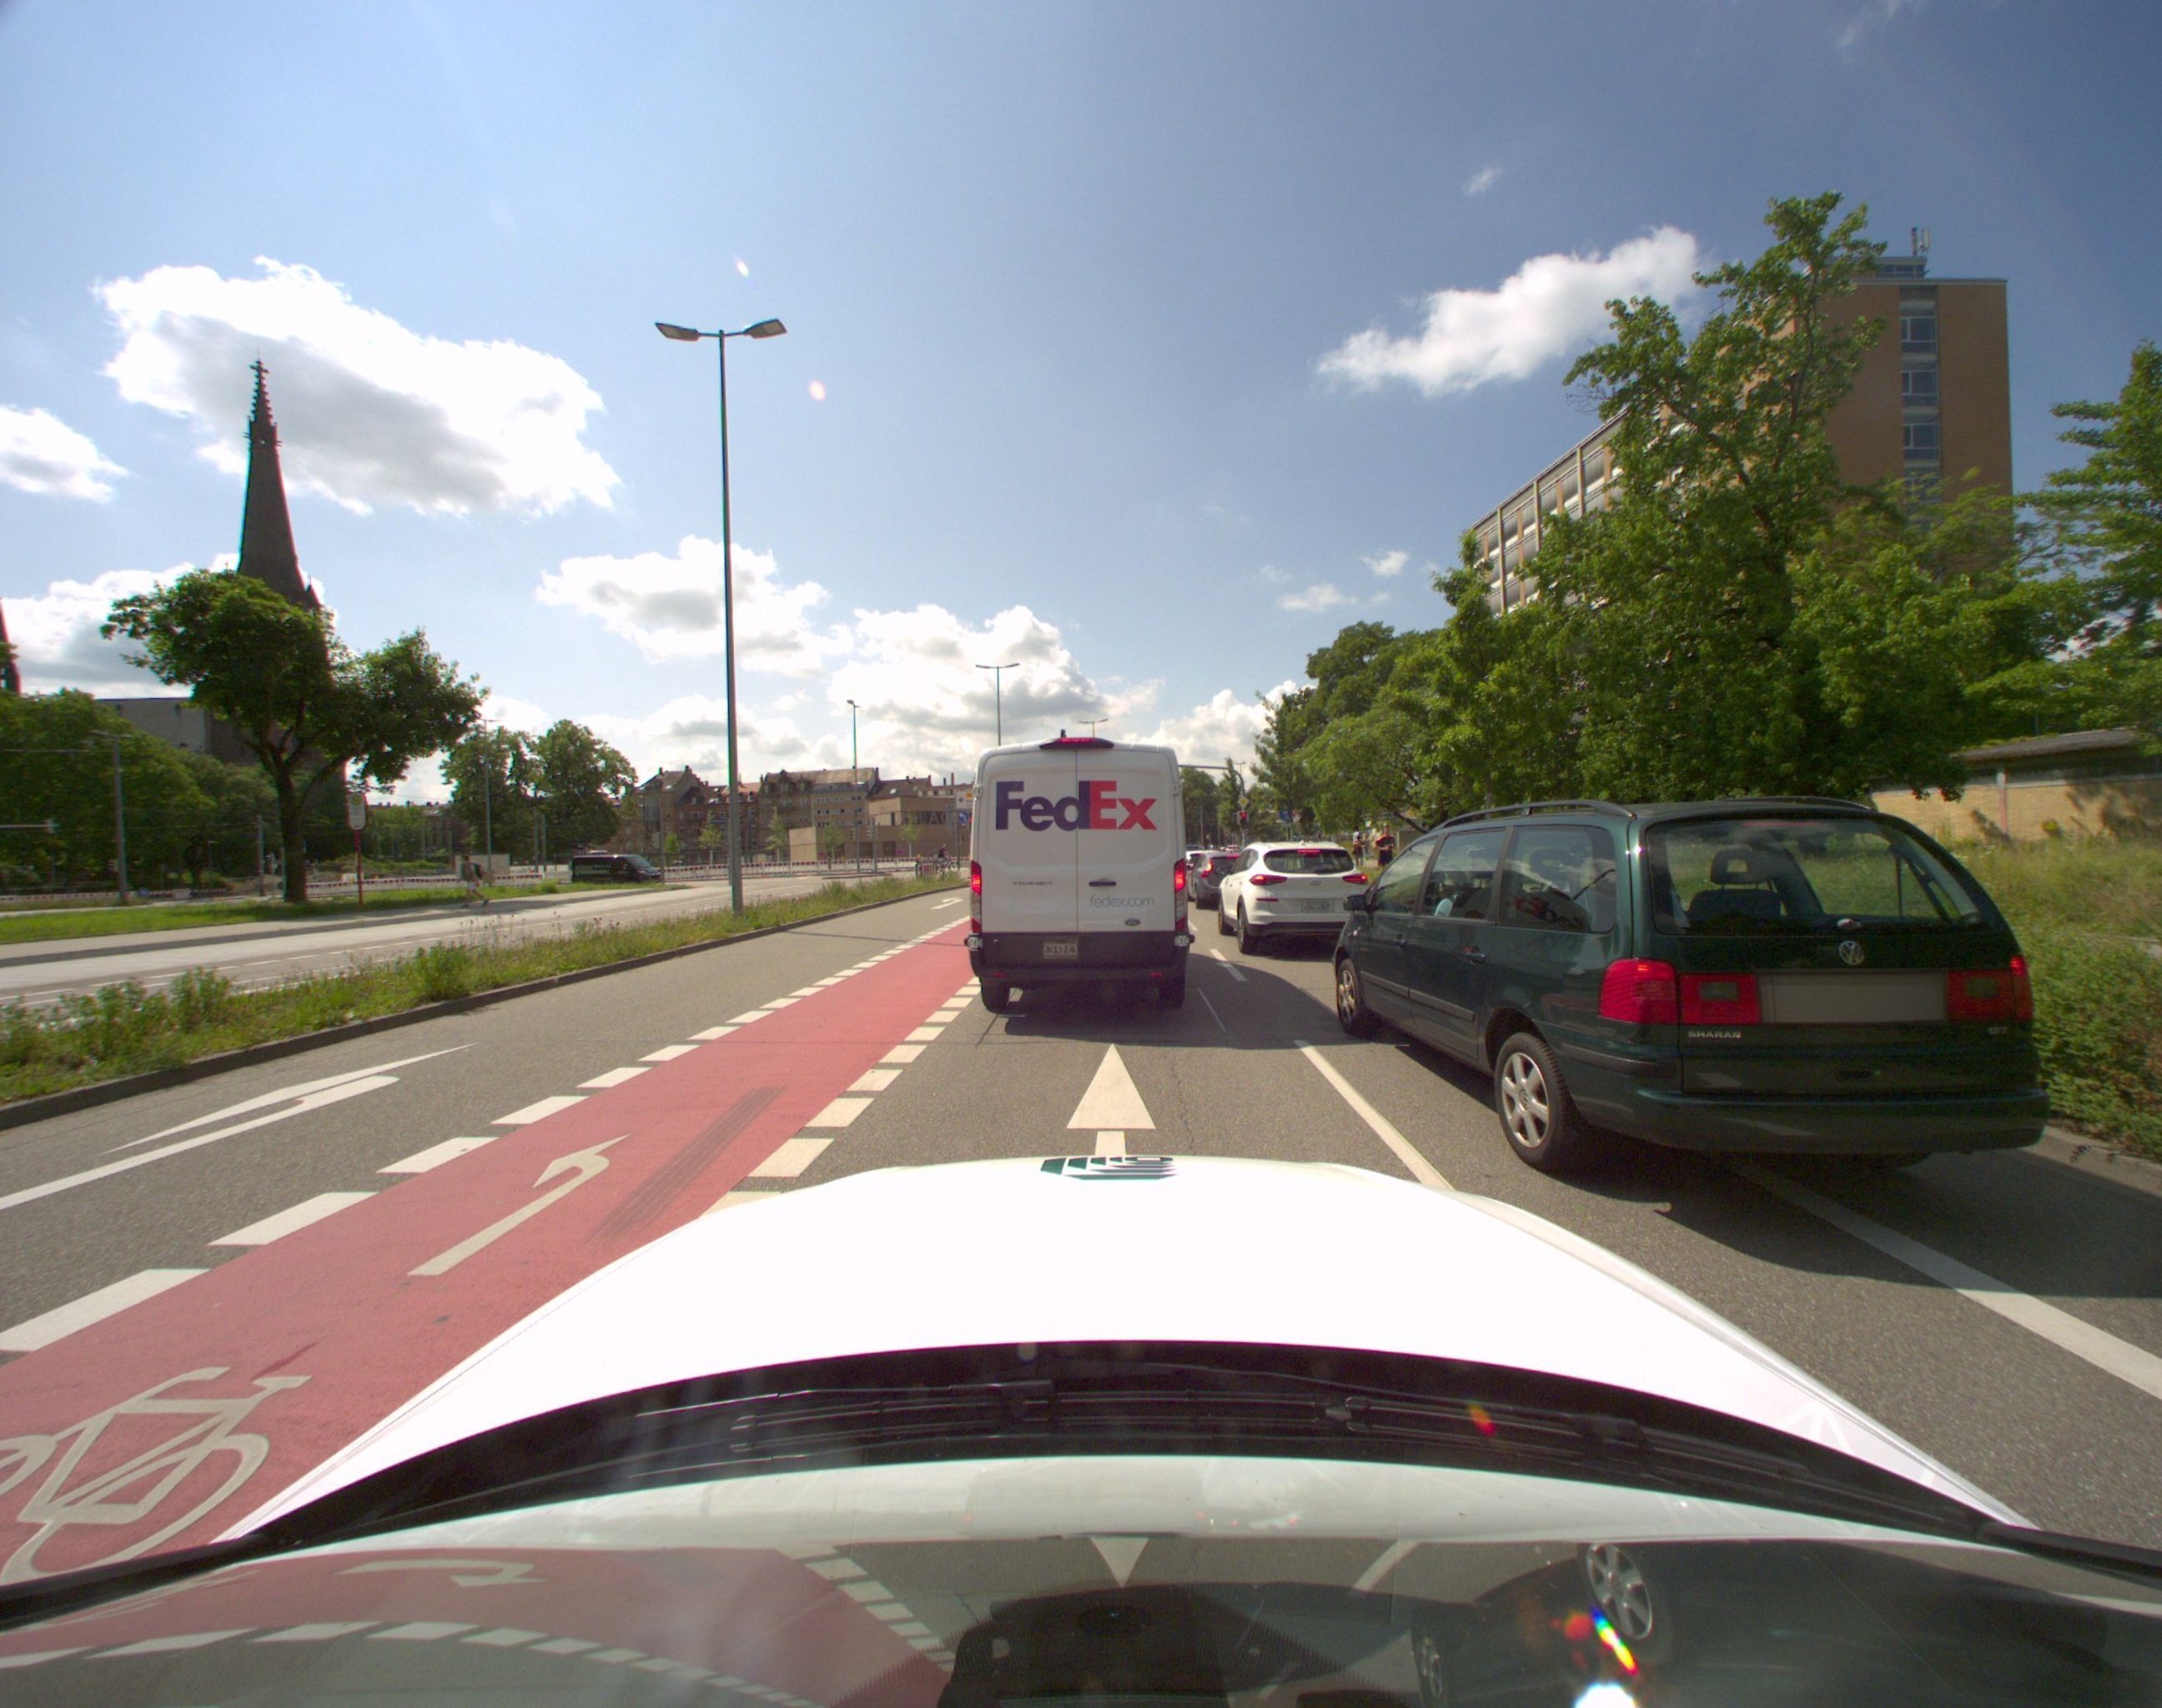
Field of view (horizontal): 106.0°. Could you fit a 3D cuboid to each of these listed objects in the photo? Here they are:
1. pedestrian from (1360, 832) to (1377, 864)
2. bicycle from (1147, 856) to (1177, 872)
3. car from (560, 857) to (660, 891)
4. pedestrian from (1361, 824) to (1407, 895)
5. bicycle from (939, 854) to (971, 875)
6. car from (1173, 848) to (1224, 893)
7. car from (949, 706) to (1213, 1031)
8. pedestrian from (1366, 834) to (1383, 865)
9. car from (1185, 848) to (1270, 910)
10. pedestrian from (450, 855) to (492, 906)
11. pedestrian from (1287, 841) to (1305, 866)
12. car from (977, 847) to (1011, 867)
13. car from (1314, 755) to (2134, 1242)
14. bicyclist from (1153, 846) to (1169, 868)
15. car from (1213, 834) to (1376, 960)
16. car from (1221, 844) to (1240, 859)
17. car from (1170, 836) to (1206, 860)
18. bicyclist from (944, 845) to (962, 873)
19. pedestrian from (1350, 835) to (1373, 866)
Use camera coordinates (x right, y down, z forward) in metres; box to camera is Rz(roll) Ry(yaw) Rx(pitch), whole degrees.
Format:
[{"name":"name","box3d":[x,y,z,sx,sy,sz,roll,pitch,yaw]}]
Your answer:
[{"name":"pedestrian","box3d":[19.110,-0.383,54.103,0.737,2.058,0.846,-2,0,-3]},{"name":"bicycle","box3d":[5.438,0.658,54.796,1.917,1.030,0.547,-2,0,-6]},{"name":"car","box3d":[-29.443,1.245,51.039,4.995,1.879,1.928,-2,1,-2]},{"name":"pedestrian","box3d":[8.391,0.142,22.573,0.947,1.892,0.774,-2,0,1]},{"name":"bicycle","box3d":[-8.410,0.711,54.495,2.061,1.290,0.603,-2,0,-6]},{"name":"car","box3d":[4.053,0.528,28.559,1.478,1.428,3.436,-2,0,4]},{"name":"car","box3d":[-0.001,0.109,9.599,2.134,2.652,5.703,-1,0,0]},{"name":"pedestrian","box3d":[19.787,-0.293,54.896,0.852,2.013,0.732,-2,0,-39]},{"name":"car","box3d":[3.839,0.597,21.900,1.790,1.461,3.842,-2,0,4]},{"name":"pedestrian","box3d":[-19.530,0.834,26.076,0.548,1.560,0.881,-2,0,31]},{"name":"pedestrian","box3d":[12.602,-0.026,47.776,0.842,1.389,0.741,-2,0,1]},{"name":"car","box3d":[-8.935,0.283,83.859,1.978,2.013,4.017,-2,0,16]},{"name":"car","box3d":[2.946,0.507,5.138,1.805,1.734,4.390,-1,0,2]},{"name":"bicyclist","box3d":[5.375,0.213,54.793,0.966,1.474,0.550,-2,0,-6]},{"name":"car","box3d":[3.257,0.571,13.199,1.790,1.687,4.004,-2,0,4]},{"name":"car","box3d":[18.212,-0.289,99.006,1.979,1.794,4.388,-2,0,14]},{"name":"car","box3d":[9.596,-0.512,72.659,2.075,2.013,4.668,-2,0,21]},{"name":"bicyclist","box3d":[-8.568,0.340,54.487,1.118,1.844,0.592,-2,1,-7]},{"name":"pedestrian","box3d":[14.009,-0.172,40.731,0.842,1.539,0.835,-2,0,1]}]
